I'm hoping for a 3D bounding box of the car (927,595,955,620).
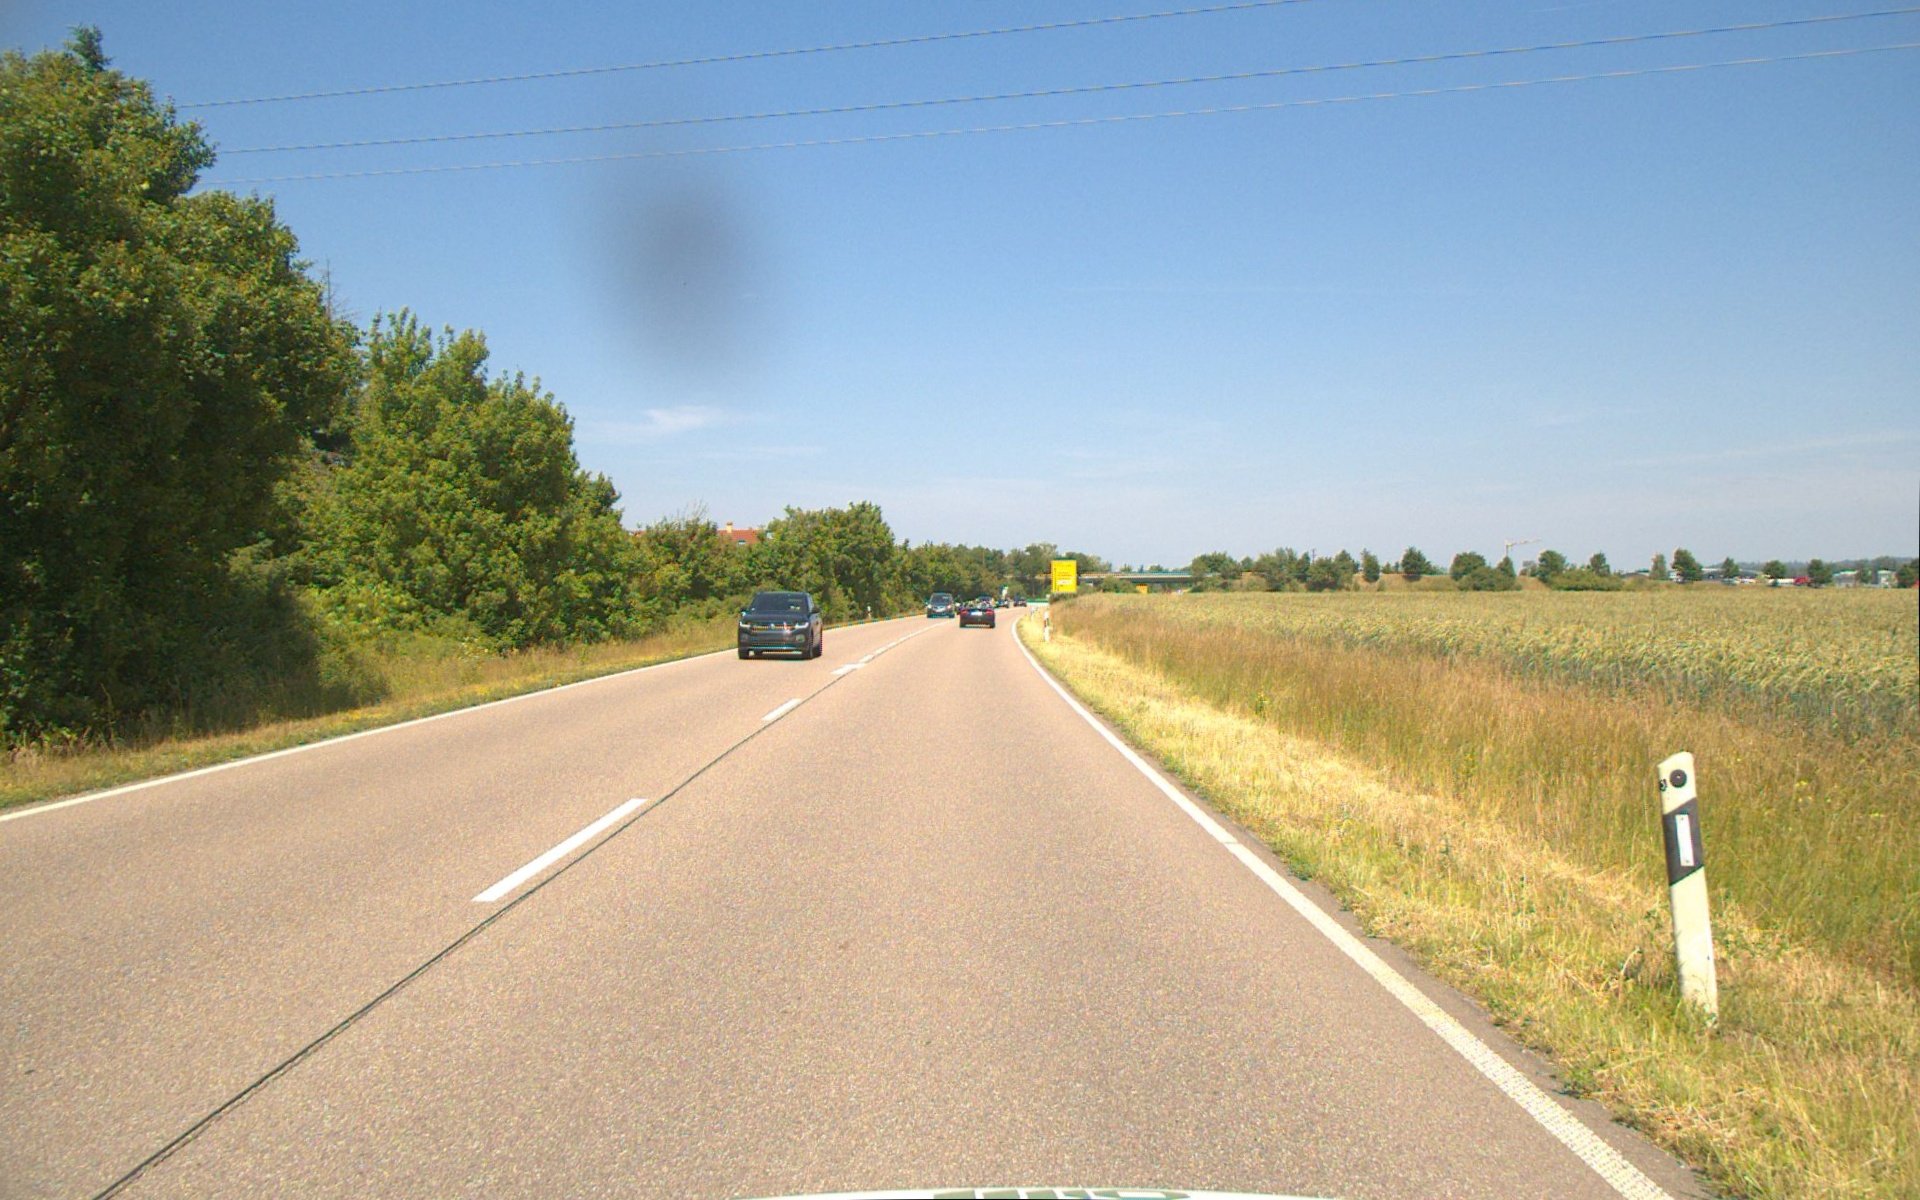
[{"bbox_3d":[-1.335,0.543,118.126,1.781,1.731,5.002,0,0,1],"label":"car"}]

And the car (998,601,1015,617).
[{"bbox_3d":[6.052,1.199,214.979,1.952,2.049,4.002,1,0,3],"label":"car"}]

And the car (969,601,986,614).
[{"bbox_3d":[1.866,0.777,175.574,1.672,1.405,3.820,1,0,2],"label":"car"}]

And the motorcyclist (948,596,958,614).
[{"bbox_3d":[-0.602,0.433,136.816,0.818,1.500,1.817,0,0,0],"label":"motorcyclist"}]

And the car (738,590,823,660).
[{"bbox_3d":[-4.243,0.570,39.555,1.664,1.594,3.671,0,0,0],"label":"car"}]

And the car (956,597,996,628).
[{"bbox_3d":[0.819,0.623,81.922,1.776,1.466,4.002,1,0,3],"label":"car"}]

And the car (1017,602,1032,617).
[{"bbox_3d":[9.165,1.301,235.836,1.952,2.049,4.002,1,0,4],"label":"car"}]
